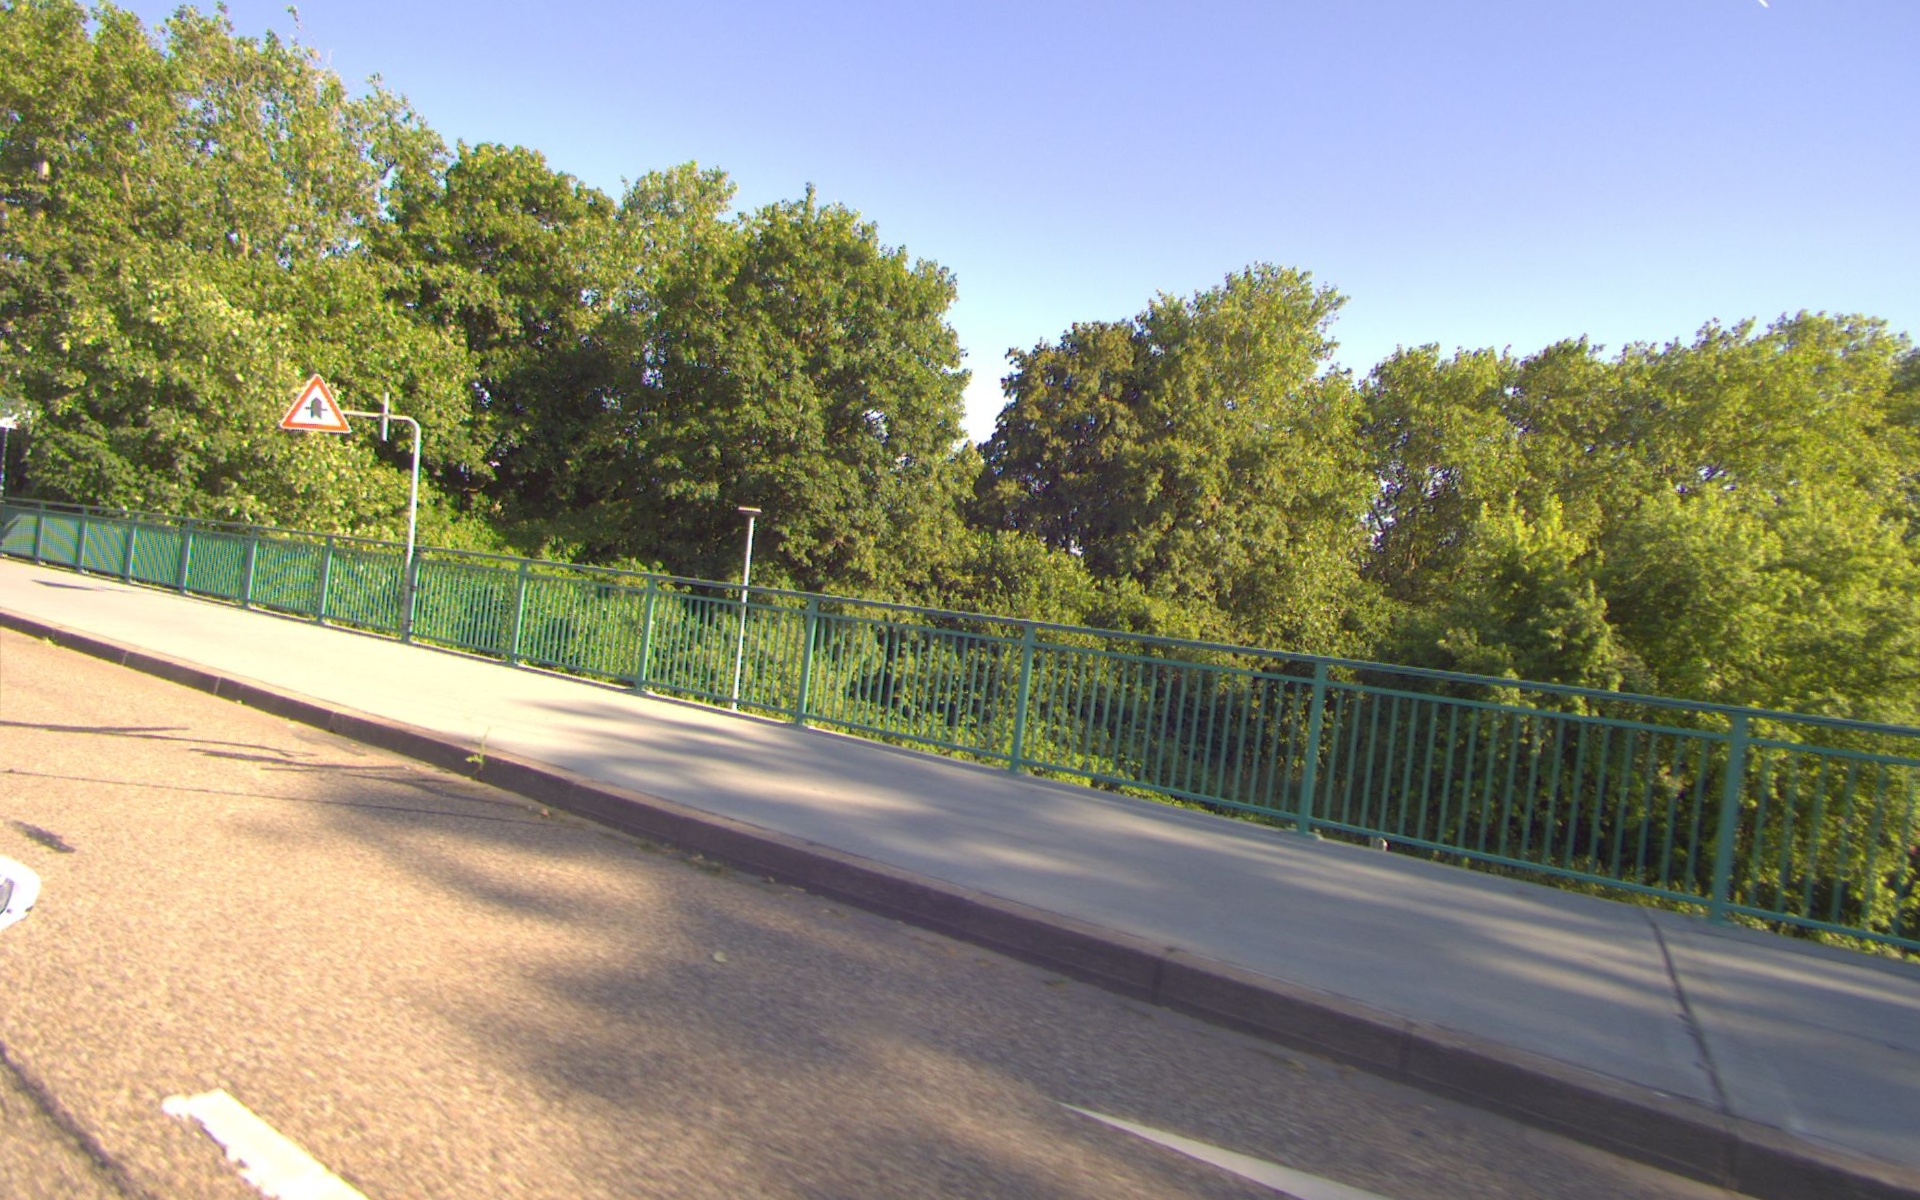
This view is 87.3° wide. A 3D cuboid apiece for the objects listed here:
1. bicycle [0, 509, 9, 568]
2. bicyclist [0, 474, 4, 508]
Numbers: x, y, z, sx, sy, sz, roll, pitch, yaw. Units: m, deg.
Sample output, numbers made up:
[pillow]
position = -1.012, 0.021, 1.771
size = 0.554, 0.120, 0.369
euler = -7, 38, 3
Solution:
[bicycle]
position = -20.112, -1.361, 20.205
size = 2.696, 1.136, 0.732
euler = 7, 0, 32
[bicyclist]
position = -19.916, -1.752, 20.127
size = 1.182, 1.710, 0.732
euler = 7, 0, 31
